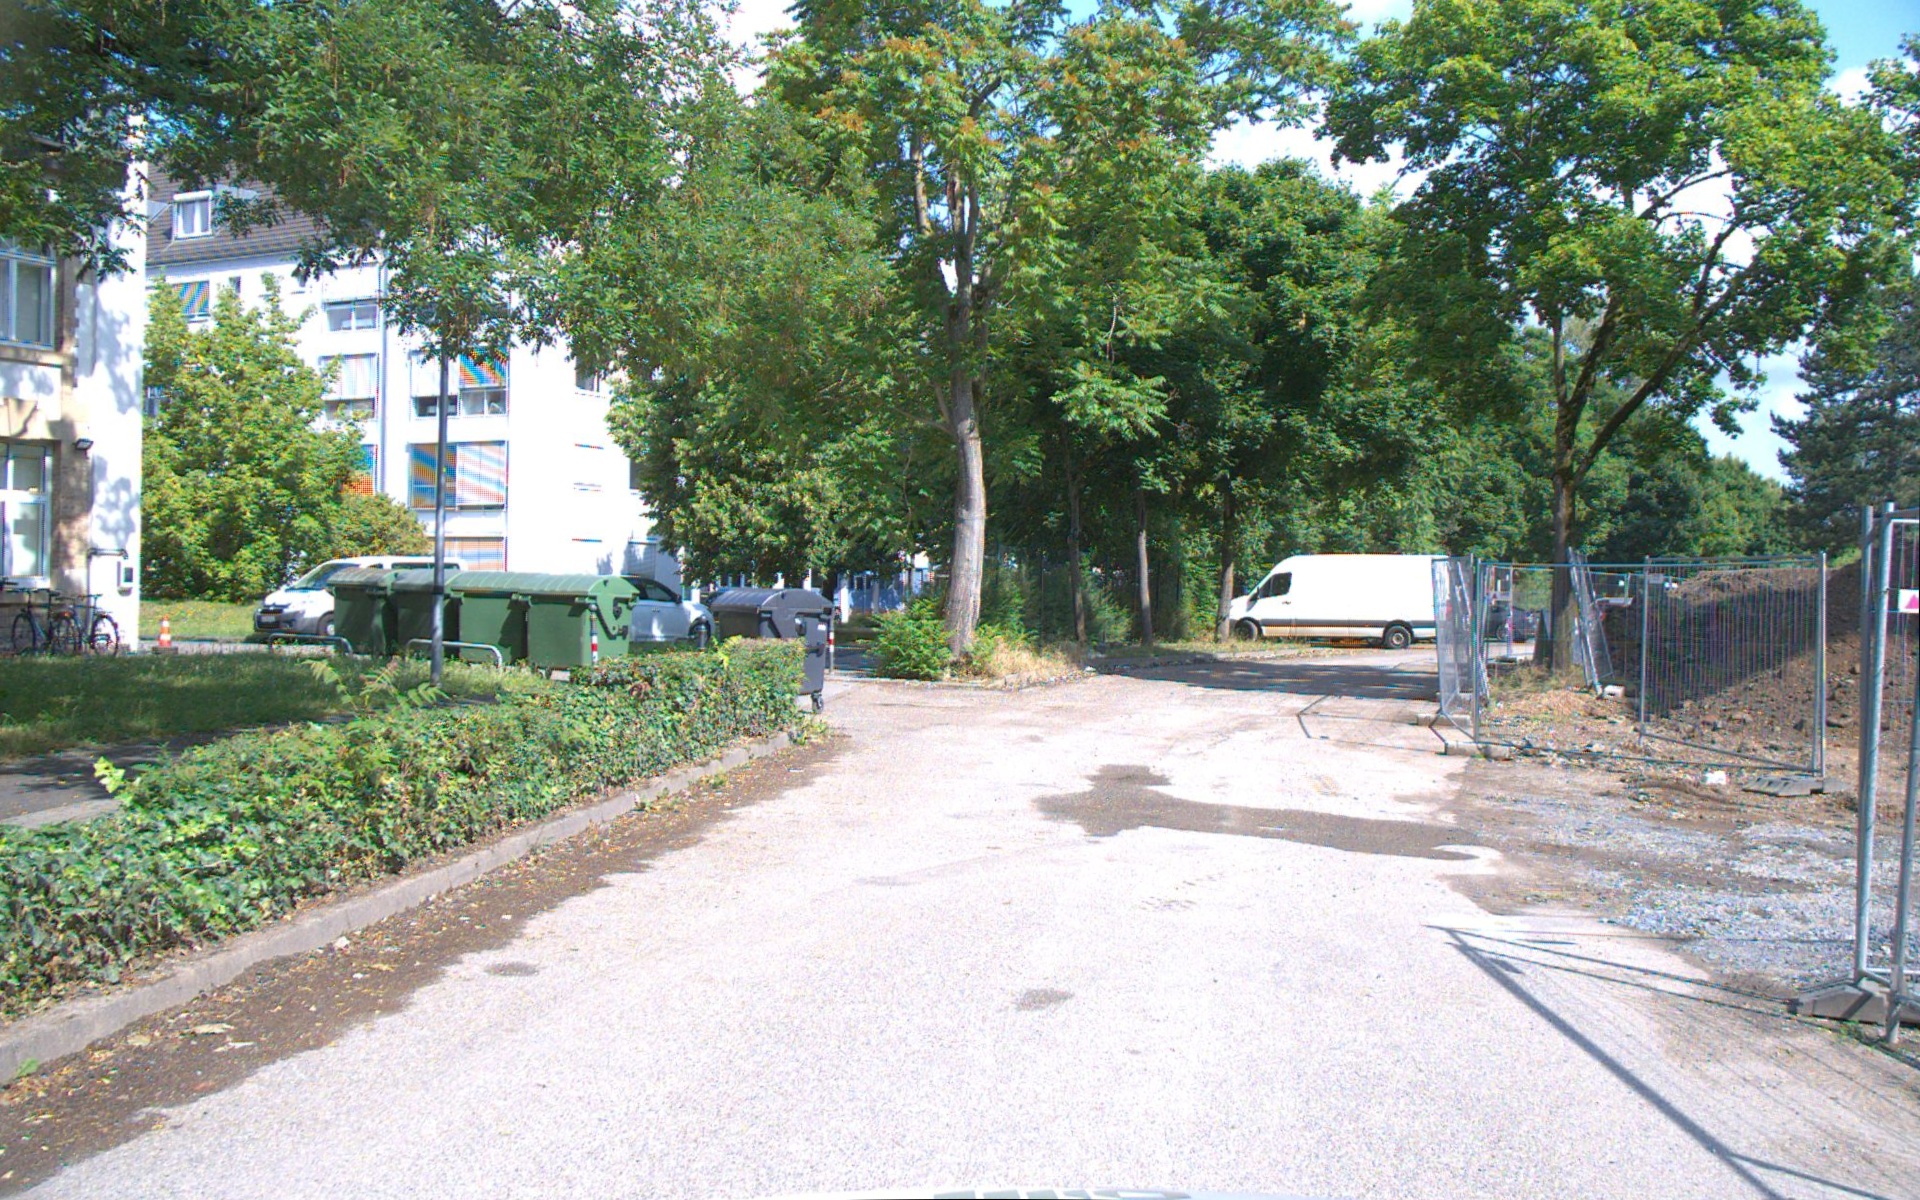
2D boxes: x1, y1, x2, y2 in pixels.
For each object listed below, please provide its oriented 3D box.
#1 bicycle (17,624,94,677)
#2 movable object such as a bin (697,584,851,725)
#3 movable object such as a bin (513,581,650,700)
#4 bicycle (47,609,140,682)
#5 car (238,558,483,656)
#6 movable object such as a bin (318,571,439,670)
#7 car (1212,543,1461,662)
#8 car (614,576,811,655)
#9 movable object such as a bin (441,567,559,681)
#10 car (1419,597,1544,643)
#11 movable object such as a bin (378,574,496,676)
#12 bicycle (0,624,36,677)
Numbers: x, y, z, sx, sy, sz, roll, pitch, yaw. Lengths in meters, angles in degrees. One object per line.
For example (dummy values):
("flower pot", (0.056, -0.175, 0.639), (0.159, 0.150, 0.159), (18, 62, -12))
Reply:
("bicycle", (-13.454, 0.742, 24.595), (1.825, 0.718, 0.318), (1, -2, 39))
("movable object such as a bin", (-2.189, 0.629, 19.395), (1.237, 1.507, 1.279), (4, 1, -37))
("movable object such as a bin", (-4.982, 0.532, 21.826), (1.311, 1.477, 1.103), (2, -2, 22))
("bicycle", (-13.132, 0.678, 25.046), (1.820, 1.055, 0.319), (1, -2, 32))
("car", (-13.236, 0.181, 36.797), (1.959, 1.999, 4.939), (-2, -1, 34))
("movable object such as a bin", (-8.450, 0.305, 24.057), (1.350, 1.373, 0.945), (1, -2, 26))
("car", (10.923, 0.046, 47.975), (6.807, 3.100, 2.001), (2, 0, 17))
("car", (-4.784, 0.271, 32.452), (1.721, 1.445, 3.907), (0, 0, 32))
("movable object such as a bin", (-6.239, 0.324, 22.454), (1.206, 1.477, 0.879), (1, -2, 27))
("car", (18.534, 0.711, 58.781), (3.913, 1.453, 1.841), (1, -2, 30))
("movable object such as a bin", (-7.322, 0.354, 23.189), (1.206, 1.373, 0.945), (1, -2, 26))
("bicycle", (-13.997, 0.718, 24.043), (1.825, 0.718, 0.318), (1, -2, 39))
